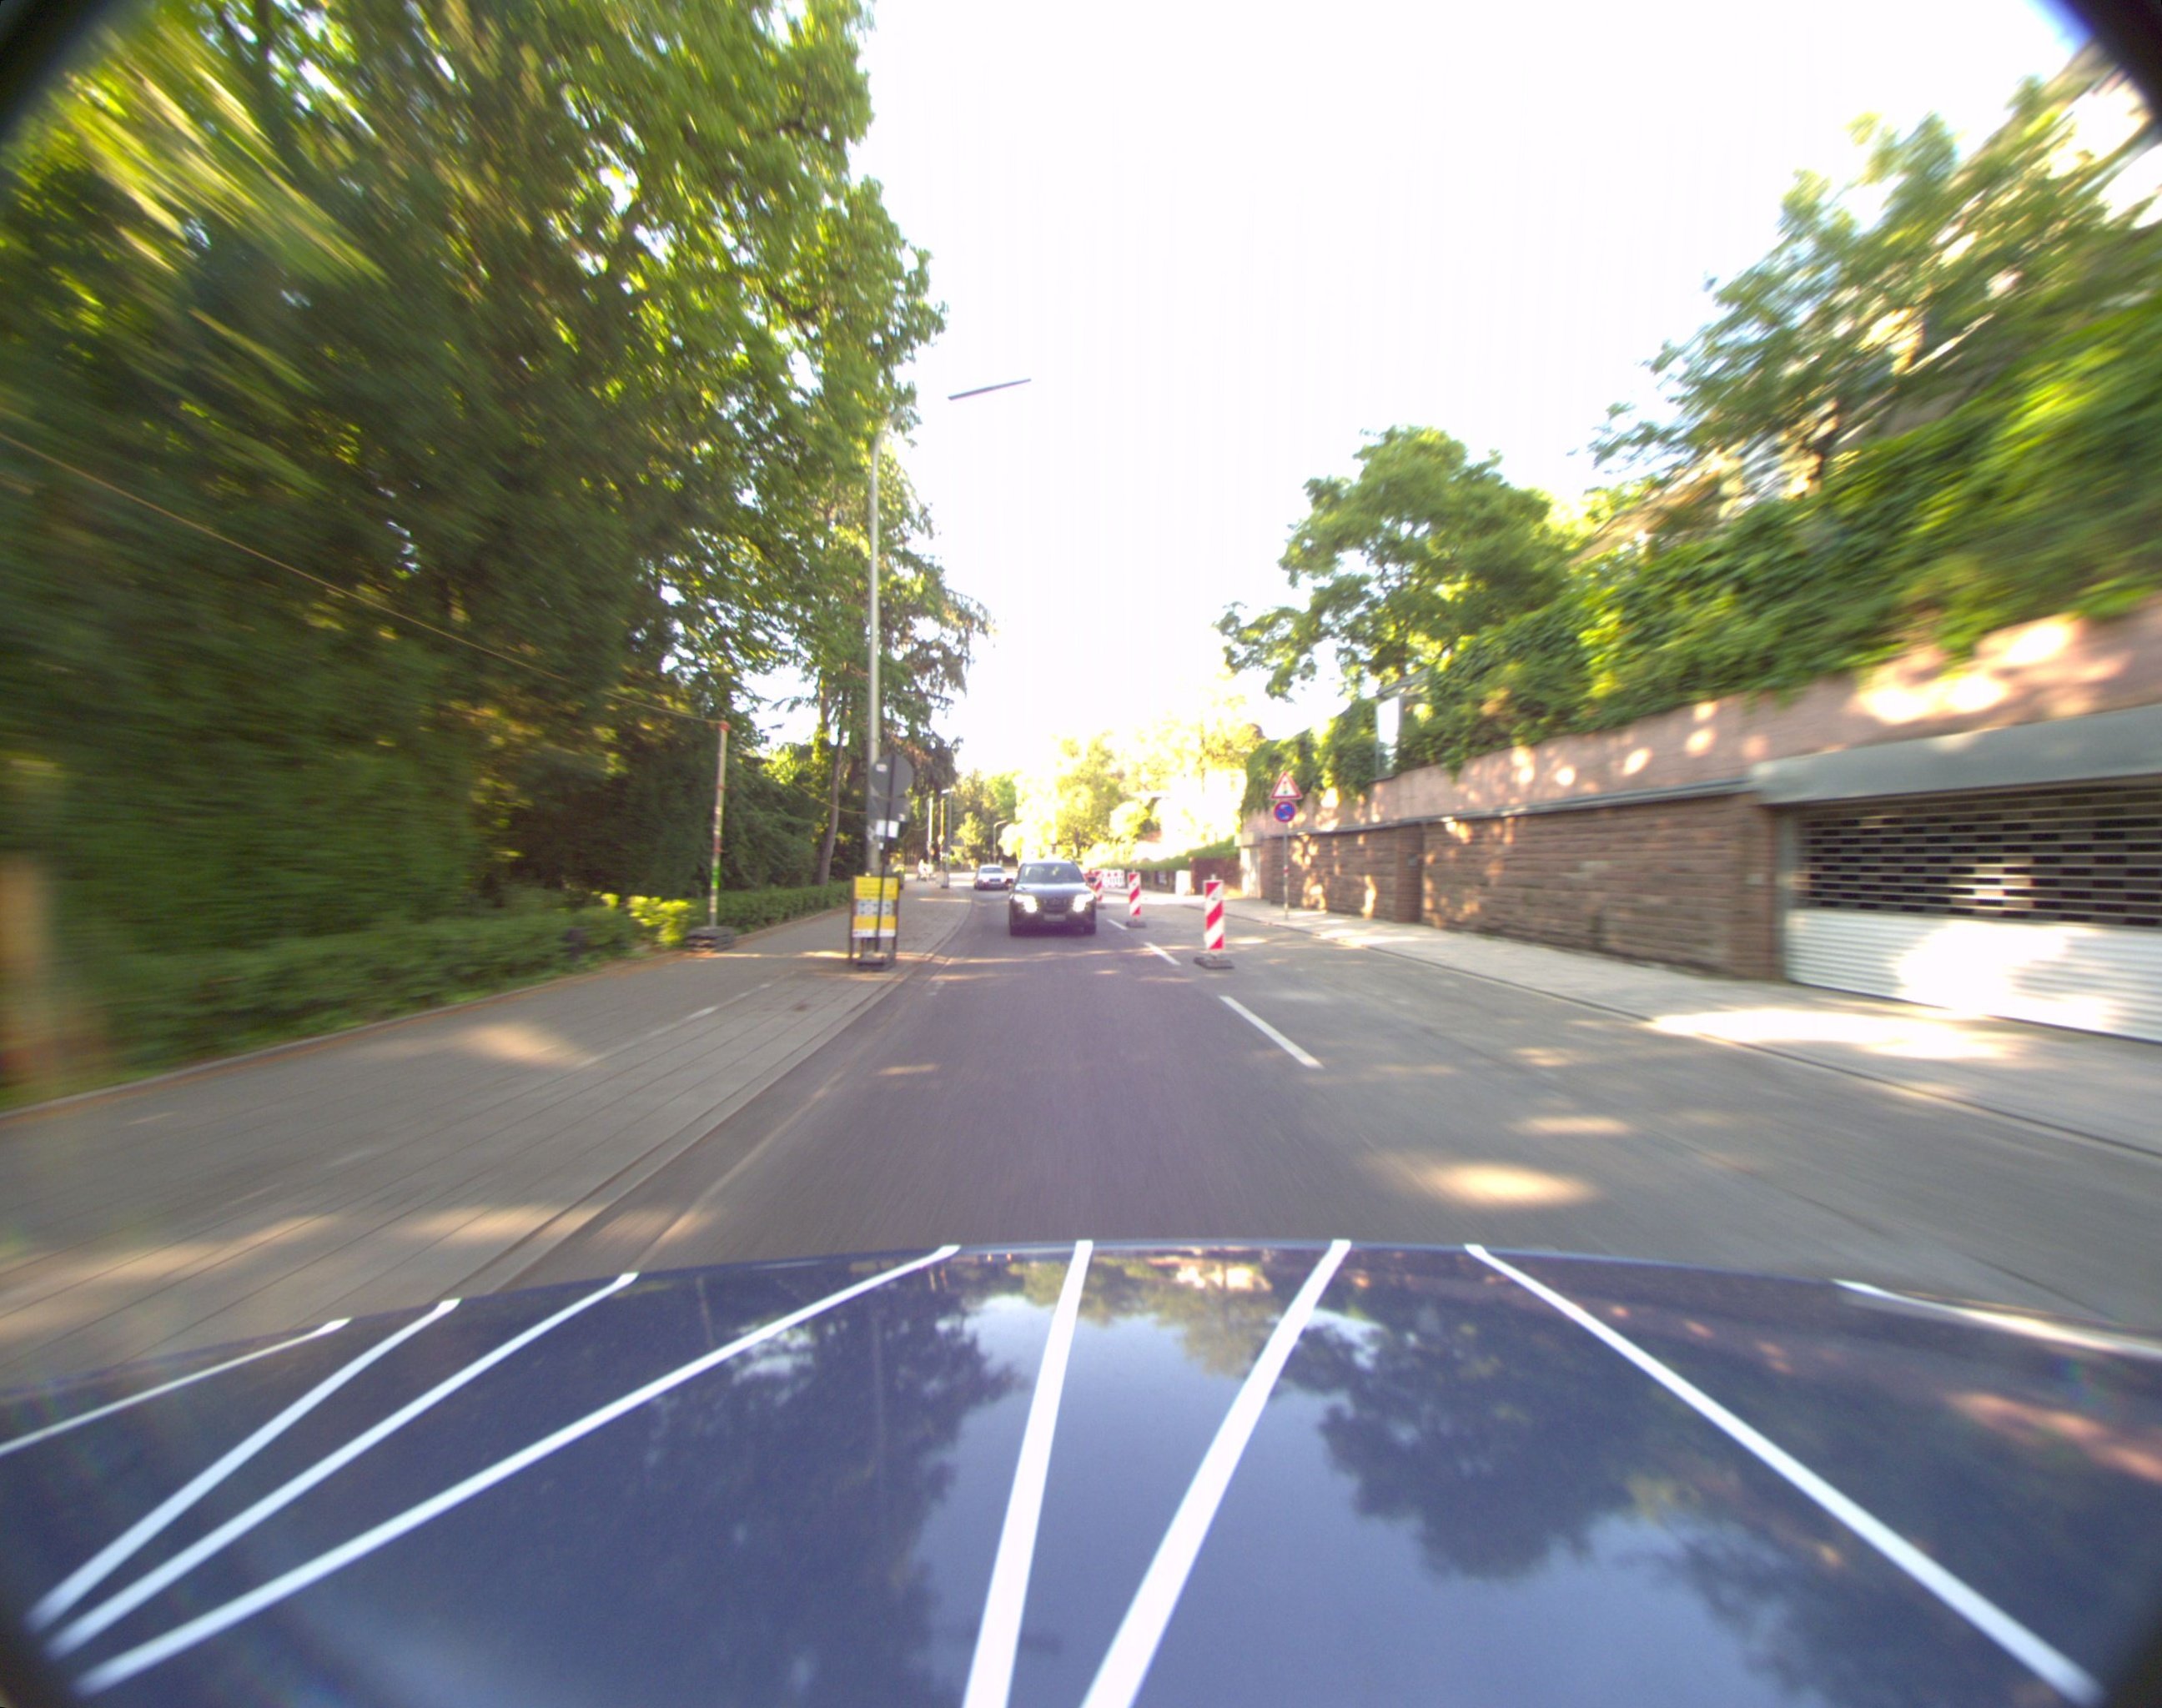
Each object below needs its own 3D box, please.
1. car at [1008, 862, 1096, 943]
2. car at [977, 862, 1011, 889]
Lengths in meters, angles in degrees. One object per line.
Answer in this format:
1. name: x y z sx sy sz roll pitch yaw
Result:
1. car: -0.739 1.017 17.802 1.789 1.639 4.473 0 -1 -4
2. car: -5.191 1.265 45.088 1.664 1.468 3.679 -1 0 -11
